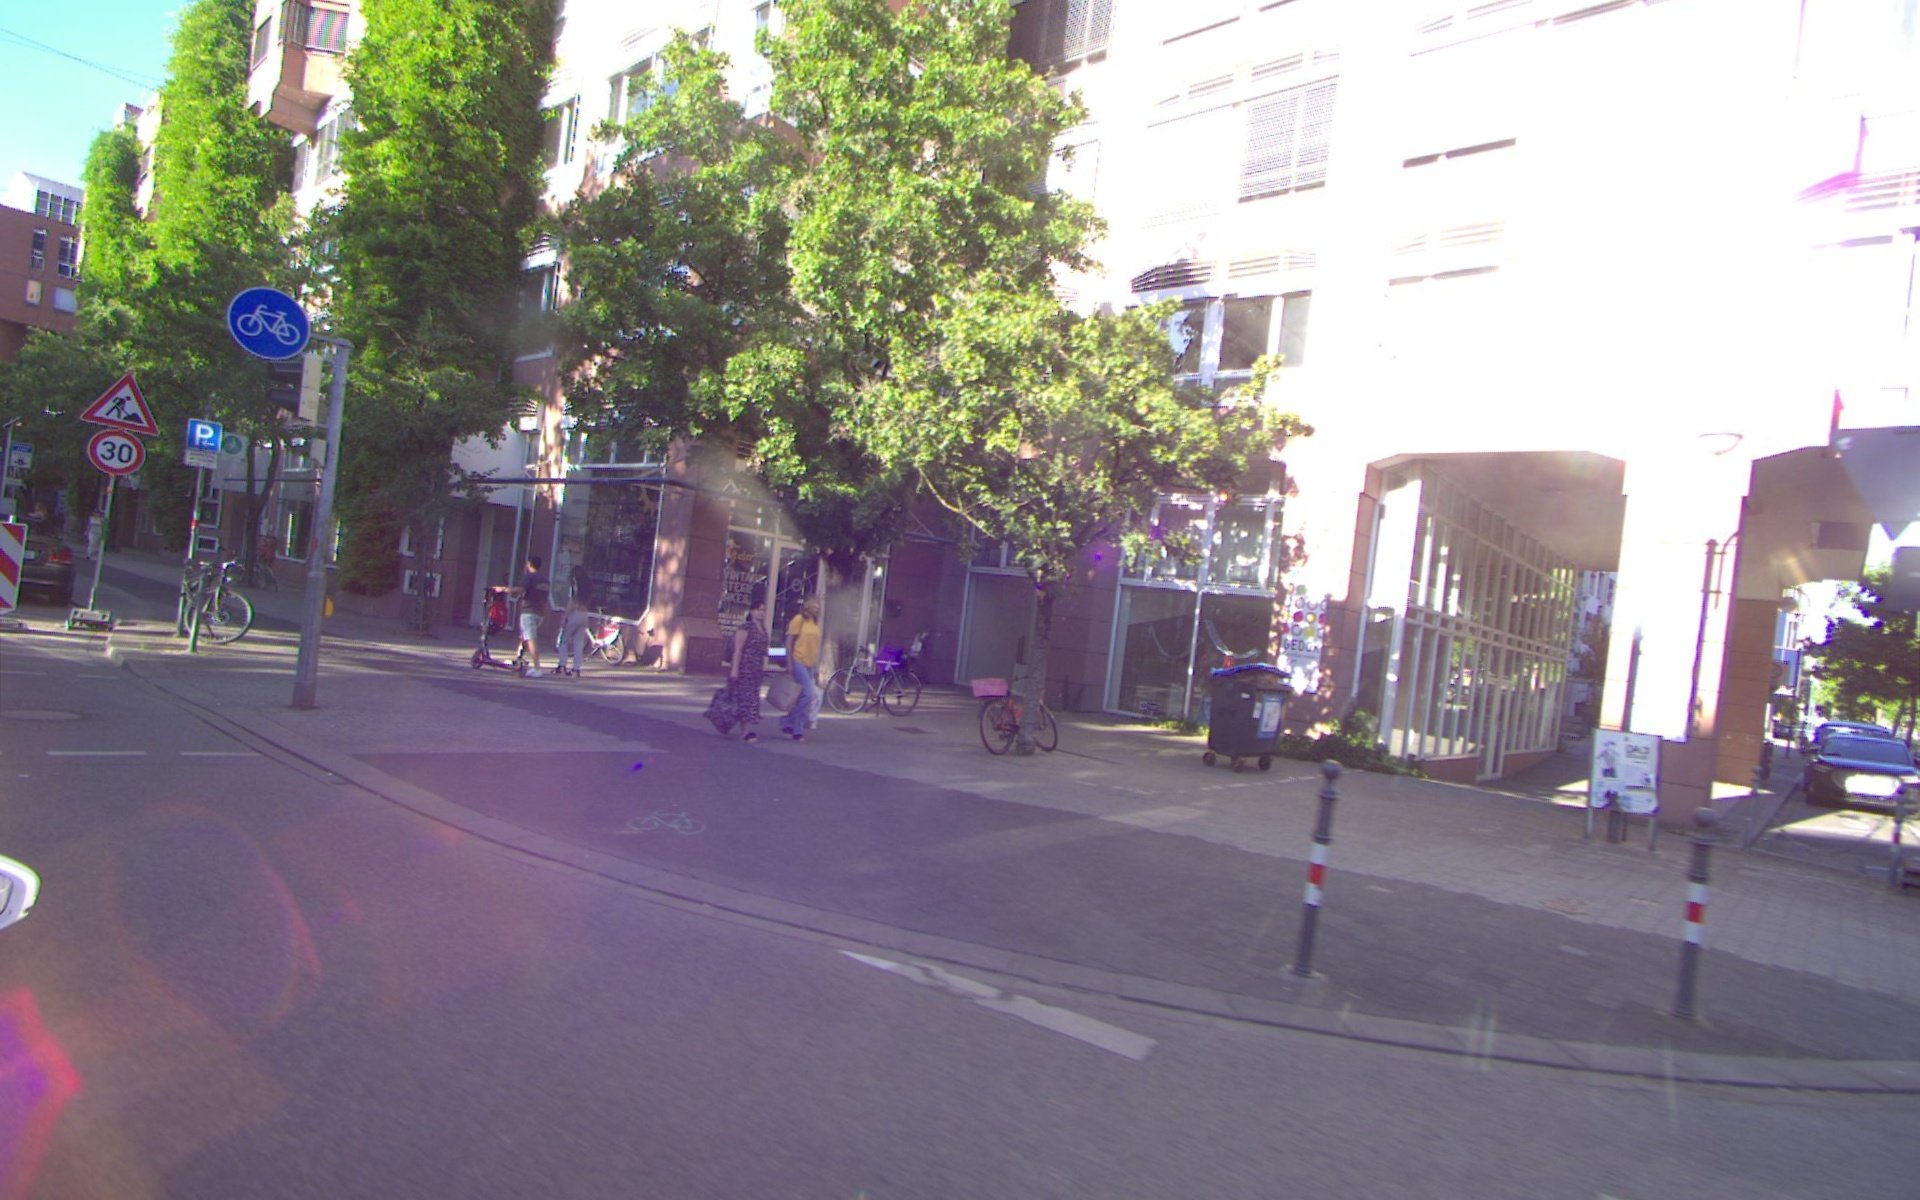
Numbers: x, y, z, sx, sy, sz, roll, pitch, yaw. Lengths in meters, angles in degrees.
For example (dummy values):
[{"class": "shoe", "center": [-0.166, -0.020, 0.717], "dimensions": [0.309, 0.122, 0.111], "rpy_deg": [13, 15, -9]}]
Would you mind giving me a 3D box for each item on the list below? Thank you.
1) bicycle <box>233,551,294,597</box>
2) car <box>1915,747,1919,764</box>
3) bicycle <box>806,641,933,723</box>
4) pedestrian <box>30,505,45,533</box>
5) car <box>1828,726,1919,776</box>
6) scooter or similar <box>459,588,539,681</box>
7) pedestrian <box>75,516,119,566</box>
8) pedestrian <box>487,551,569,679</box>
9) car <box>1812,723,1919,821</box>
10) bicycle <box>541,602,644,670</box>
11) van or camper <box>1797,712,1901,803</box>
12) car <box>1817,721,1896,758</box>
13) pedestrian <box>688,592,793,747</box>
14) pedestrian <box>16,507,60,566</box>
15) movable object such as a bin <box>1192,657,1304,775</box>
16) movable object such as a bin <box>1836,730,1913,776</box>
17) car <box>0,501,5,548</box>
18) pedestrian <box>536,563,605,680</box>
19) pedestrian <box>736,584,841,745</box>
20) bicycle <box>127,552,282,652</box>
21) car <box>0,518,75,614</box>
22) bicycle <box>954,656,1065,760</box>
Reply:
[{"class": "bicycle", "center": [-18.653, -0.709, 26.921], "dimensions": [1.883, 1.033, 0.618], "rpy_deg": [6, 0, 34]}, {"class": "car", "center": [92.373, 14.905, 95.703], "dimensions": [1.974, 1.563, 3.981], "rpy_deg": [5, -3, 43]}, {"class": "bicycle", "center": [-1.405, 1.288, 15.706], "dimensions": [1.734, 1.065, 0.733], "rpy_deg": [8, -1, -32]}, {"class": "pedestrian", "center": [-56.779, -4.953, 61.889], "dimensions": [0.368, 1.647, 0.450], "rpy_deg": [7, 0, 26]}, {"class": "car", "center": [44.530, 7.278, 48.510], "dimensions": [1.717, 1.828, 3.683], "rpy_deg": [7, -1, -38]}, {"class": "scooter or similar", "center": [-6.594, 0.484, 14.378], "dimensions": [1.230, 1.172, 0.394], "rpy_deg": [7, 0, 37]}, {"class": "pedestrian", "center": [-27.643, -1.886, 32.229], "dimensions": [0.759, 1.462, 0.775], "rpy_deg": [8, -1, -28]}, {"class": "pedestrian", "center": [-6.351, 0.228, 14.814], "dimensions": [0.598, 1.784, 0.789], "rpy_deg": [7, 0, 11]}, {"class": "car", "center": [20.190, 3.729, 22.249], "dimensions": [1.775, 1.742, 4.182], "rpy_deg": [6, -1, 39]}, {"class": "bicycle", "center": [-6.352, 0.620, 17.371], "dimensions": [1.725, 0.951, 0.737], "rpy_deg": [7, 0, 35]}, {"class": "van or camper", "center": [23.786, 4.149, 26.948], "dimensions": [1.777, 1.996, 4.554], "rpy_deg": [6, -1, 42]}, {"class": "car", "center": [66.132, 10.257, 74.289], "dimensions": [3.938, 2.038, 1.994], "rpy_deg": [6, -1, 36]}, {"class": "pedestrian", "center": [-2.438, 0.771, 11.190], "dimensions": [0.736, 1.597, 0.644], "rpy_deg": [7, 0, 34]}, {"class": "pedestrian", "center": [-28.341, -1.946, 30.922], "dimensions": [0.538, 1.665, 0.763], "rpy_deg": [7, 0, 33]}, {"class": "movable object such as a bin", "center": [4.095, 1.638, 14.261], "dimensions": [0.860, 1.500, 1.408], "rpy_deg": [7, -1, 42]}, {"class": "movable object such as a bin", "center": [37.116, 6.204, 40.831], "dimensions": [1.720, 1.517, 2.133], "rpy_deg": [7, -2, -43]}, {"class": "car", "center": [-22.997, -1.584, 22.657], "dimensions": [4.421, 1.639, 1.619], "rpy_deg": [6, -1, 41]}, {"class": "pedestrian", "center": [-5.964, 0.331, 15.417], "dimensions": [0.667, 1.693, 0.461], "rpy_deg": [7, 0, 15]}, {"class": "pedestrian", "center": [-2.016, 0.753, 11.833], "dimensions": [0.755, 1.754, 0.701], "rpy_deg": [7, 0, 34]}, {"class": "bicycle", "center": [-9.768, 0.032, 13.004], "dimensions": [1.720, 1.066, 0.739], "rpy_deg": [7, 0, 22]}, {"class": "car", "center": [-15.921, -0.691, 16.330], "dimensions": [4.249, 1.318, 1.619], "rpy_deg": [6, -1, 40]}, {"class": "bicycle", "center": [0.685, 1.437, 13.397], "dimensions": [0.569, 1.242, 1.567], "rpy_deg": [7, -1, 36]}]
